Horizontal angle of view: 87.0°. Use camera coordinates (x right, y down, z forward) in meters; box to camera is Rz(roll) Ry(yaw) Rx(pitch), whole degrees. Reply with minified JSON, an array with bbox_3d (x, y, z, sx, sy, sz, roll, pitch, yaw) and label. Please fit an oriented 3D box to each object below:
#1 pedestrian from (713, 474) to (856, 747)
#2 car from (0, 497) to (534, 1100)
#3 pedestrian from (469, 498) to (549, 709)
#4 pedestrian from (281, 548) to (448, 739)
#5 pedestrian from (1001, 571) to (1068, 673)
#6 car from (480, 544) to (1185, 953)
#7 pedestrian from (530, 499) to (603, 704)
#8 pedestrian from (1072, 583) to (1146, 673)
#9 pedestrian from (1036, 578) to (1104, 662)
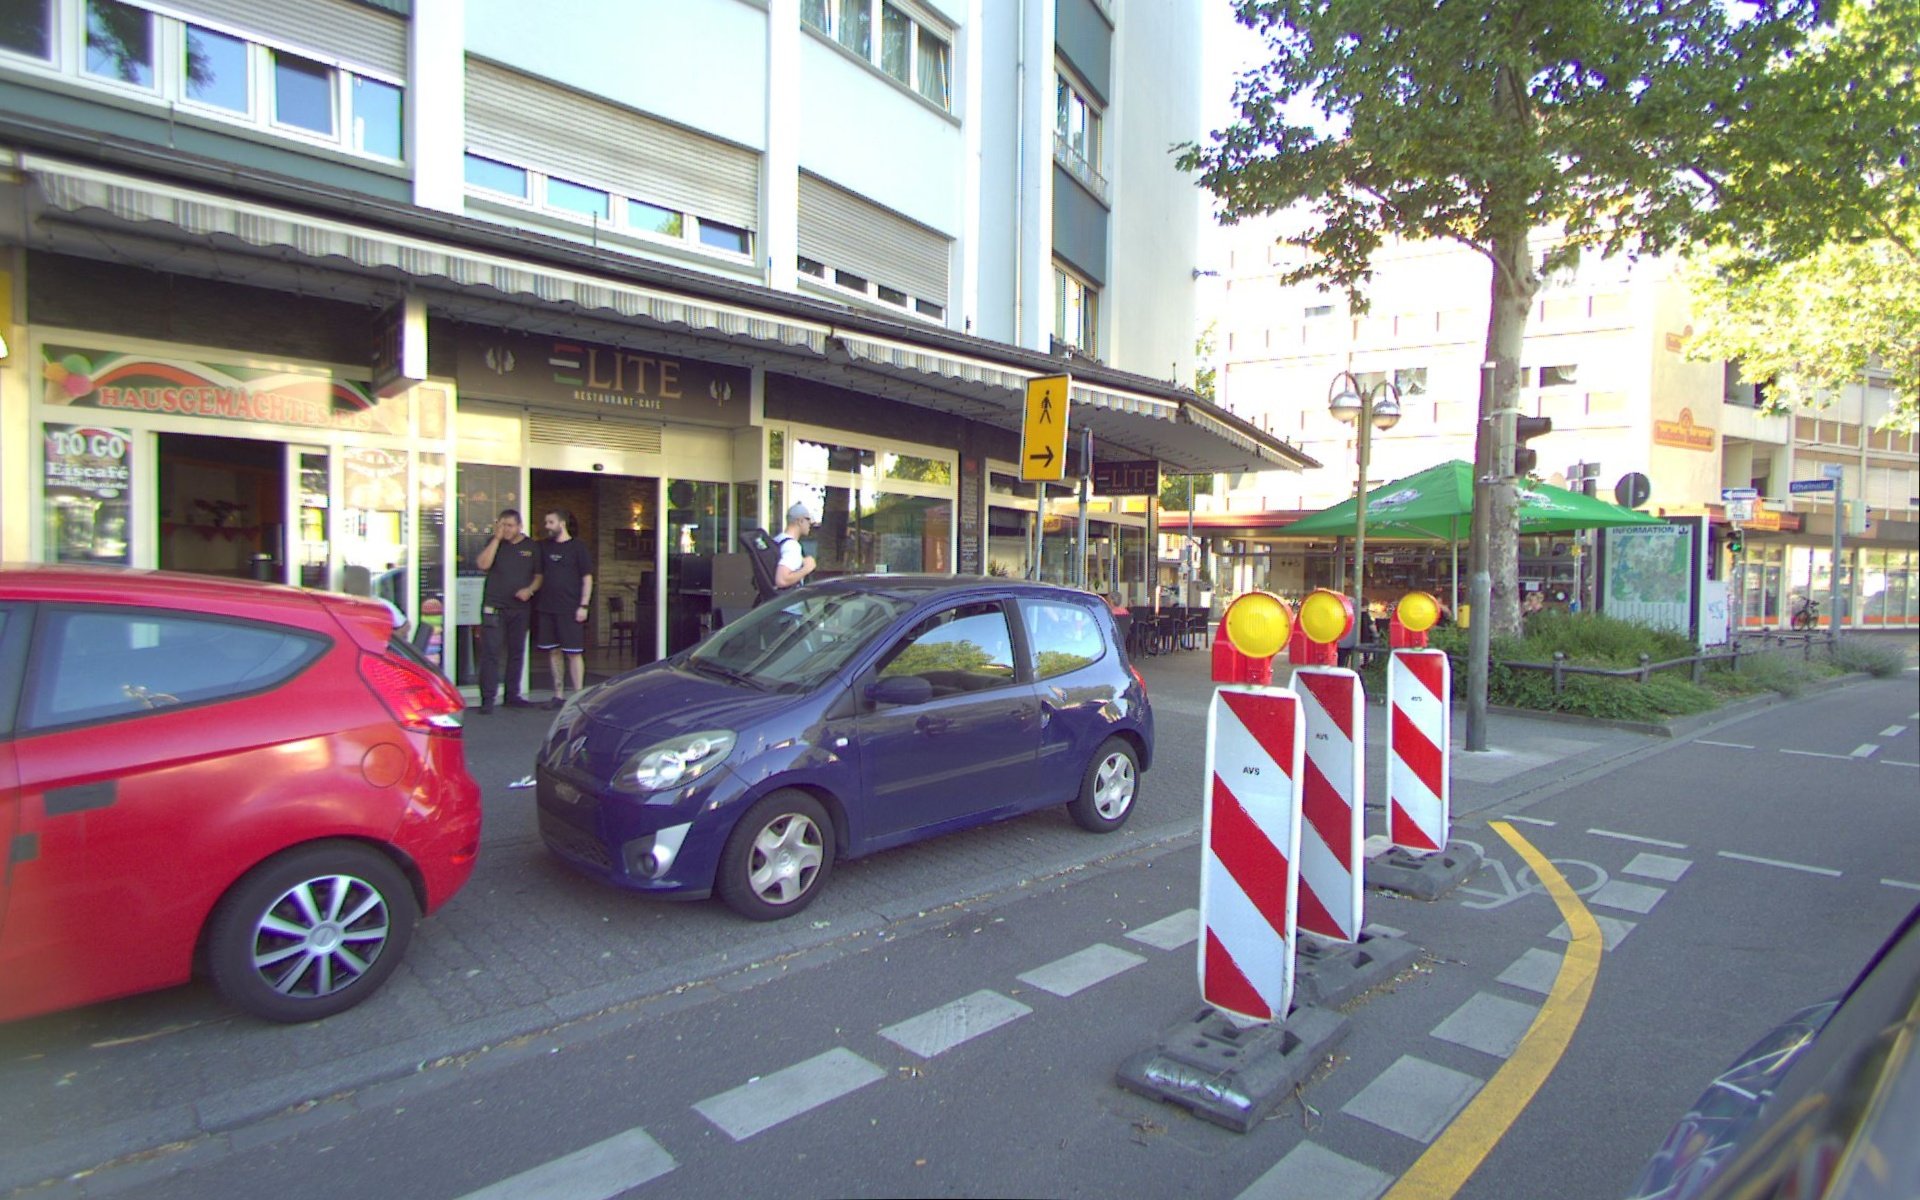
[{"bbox_3d":[-1.371,0.065,7.905,0.874,1.983,0.648,0,1,-41],"label":"pedestrian"},{"bbox_3d":[-3.522,0.482,3.006,3.761,1.614,1.784,-1,5,-45],"label":"car"},{"bbox_3d":[-3.986,0.012,8.951,0.547,1.800,0.395,-1,4,-43],"label":"pedestrian"},{"bbox_3d":[-4.647,0.287,7.880,0.937,1.352,1.069,0,2,-42],"label":"pedestrian"},{"bbox_3d":[0.994,0.278,13.684,0.685,1.323,0.793,1,1,-13],"label":"pedestrian"},{"bbox_3d":[-0.530,0.517,5.700,3.551,1.485,1.769,-1,5,-44],"label":"car"},{"bbox_3d":[-3.543,0.010,9.124,0.545,1.803,0.397,1,3,-11],"label":"pedestrian"},{"bbox_3d":[2.077,0.376,14.210,0.685,1.207,0.881,0,1,-18],"label":"pedestrian"},{"bbox_3d":[1.643,0.288,15.141,0.776,1.207,0.648,0,1,-34],"label":"pedestrian"}]
